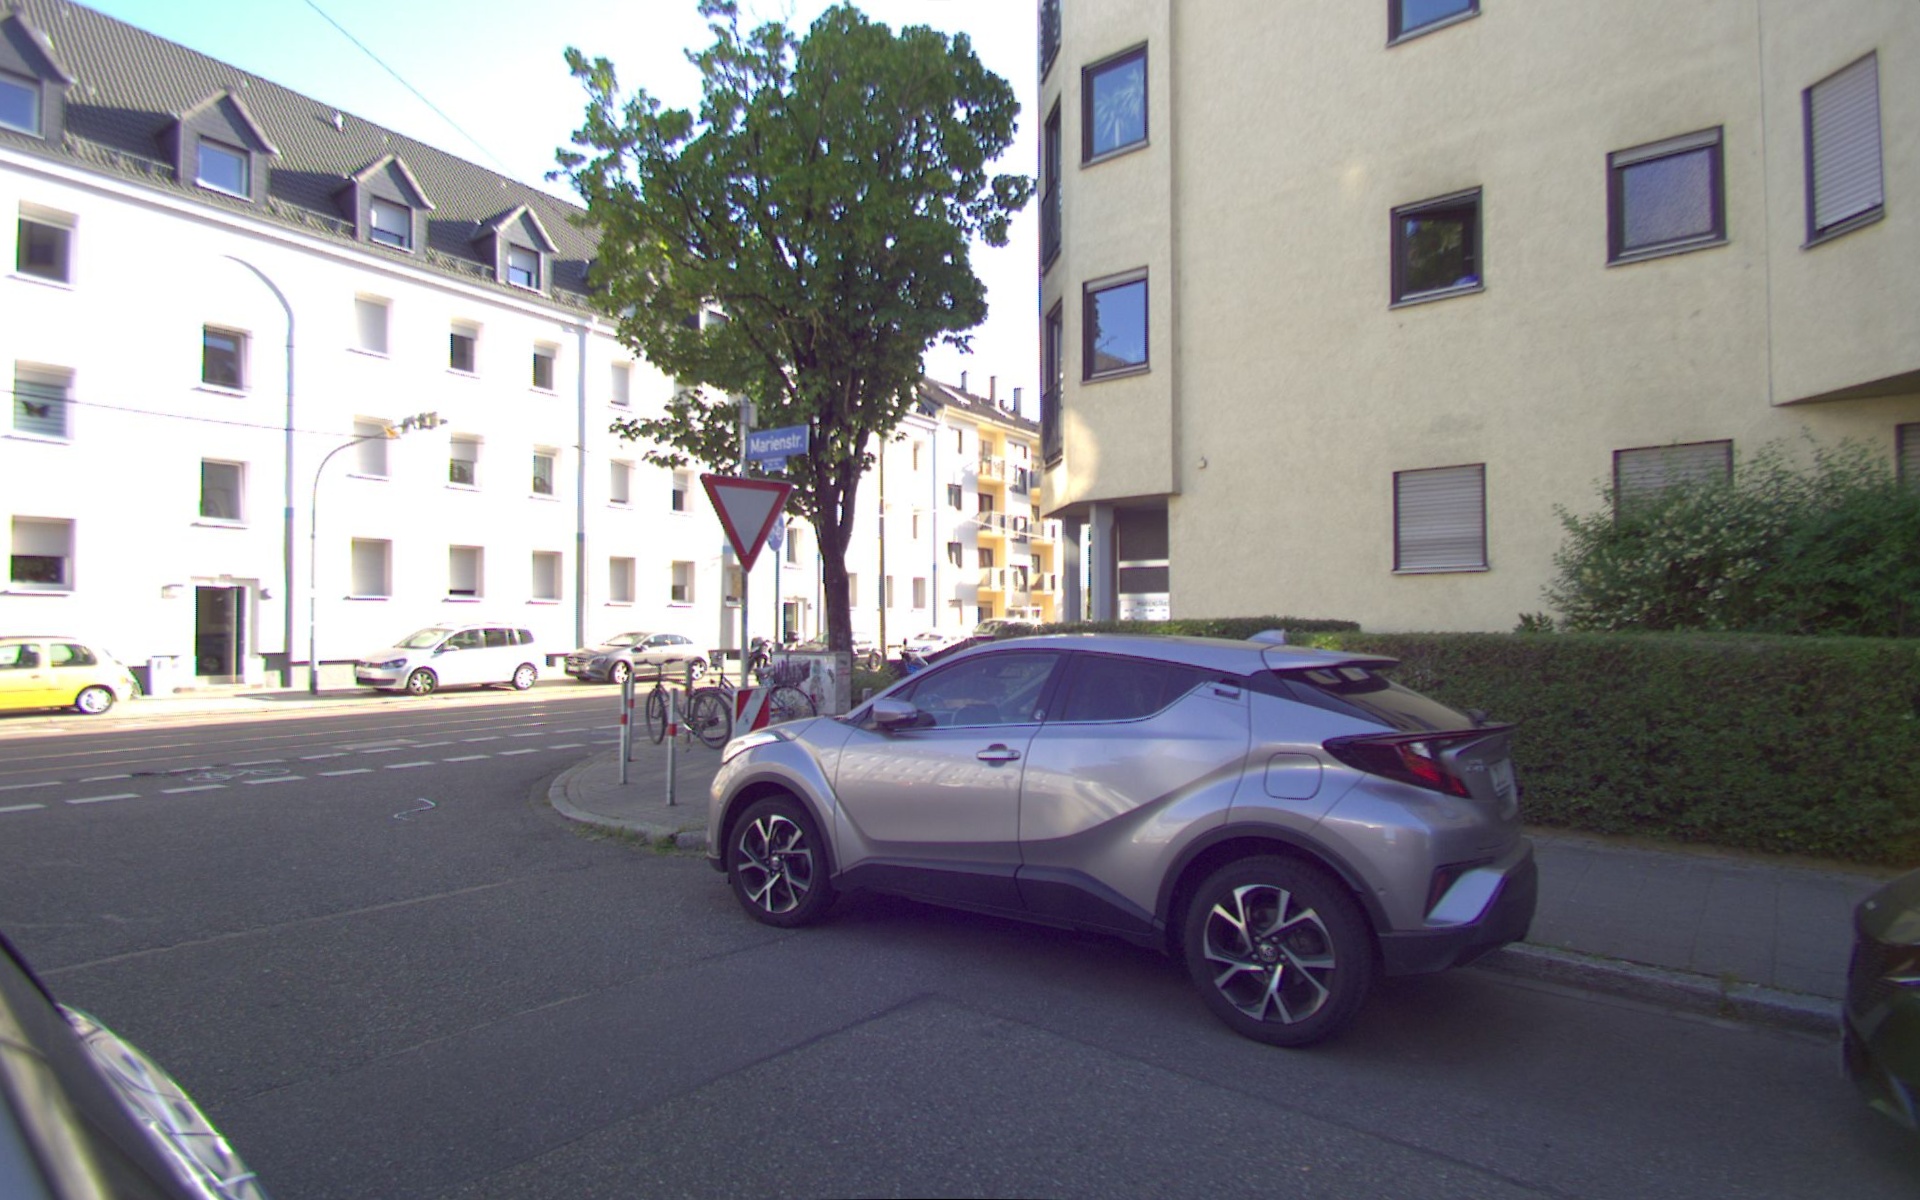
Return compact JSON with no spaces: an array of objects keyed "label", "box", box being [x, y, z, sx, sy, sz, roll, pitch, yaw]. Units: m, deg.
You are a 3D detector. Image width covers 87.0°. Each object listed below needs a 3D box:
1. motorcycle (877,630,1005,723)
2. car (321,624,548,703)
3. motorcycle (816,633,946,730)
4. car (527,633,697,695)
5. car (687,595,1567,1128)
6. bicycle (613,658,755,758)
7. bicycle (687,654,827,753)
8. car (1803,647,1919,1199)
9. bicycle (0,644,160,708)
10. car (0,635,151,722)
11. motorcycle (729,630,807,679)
[{"label":"motorcycle","box":[-0.323,1.239,16.746,1.965,1.458,0.828,-1,-3,27]},{"label":"car","box":[-12.402,1.458,24.231,1.754,1.678,4.578,1,-2,30]},{"label":"motorcycle","box":[-1.250,1.256,15.981,1.965,1.458,0.714,-1,-3,27]},{"label":"car","box":[-9.808,1.768,28.826,1.865,1.566,4.315,0,-2,34]},{"label":"car","box":[0.690,0.915,5.164,3.991,1.672,1.886,-1,-5,36]},{"label":"bicycle","box":[-3.339,1.254,12.160,1.879,1.093,0.588,-1,-3,36]},{"label":"bicycle","box":[-2.476,1.218,12.260,1.808,1.093,0.588,-1,-3,36]},{"label":"car","box":[4.326,0.890,1.907,4.131,1.508,1.735,-1,-5,39]},{"label":"bicycle","box":[-17.669,1.485,20.288,1.096,1.206,2.302,-1,-3,32]},{"label":"car","box":[-16.759,1.338,17.412,1.514,1.441,4.154,0,-2,32]},{"label":"motorcycle","box":[-6.274,1.773,33.237,0.806,1.533,2.676,1,-2,34]}]
